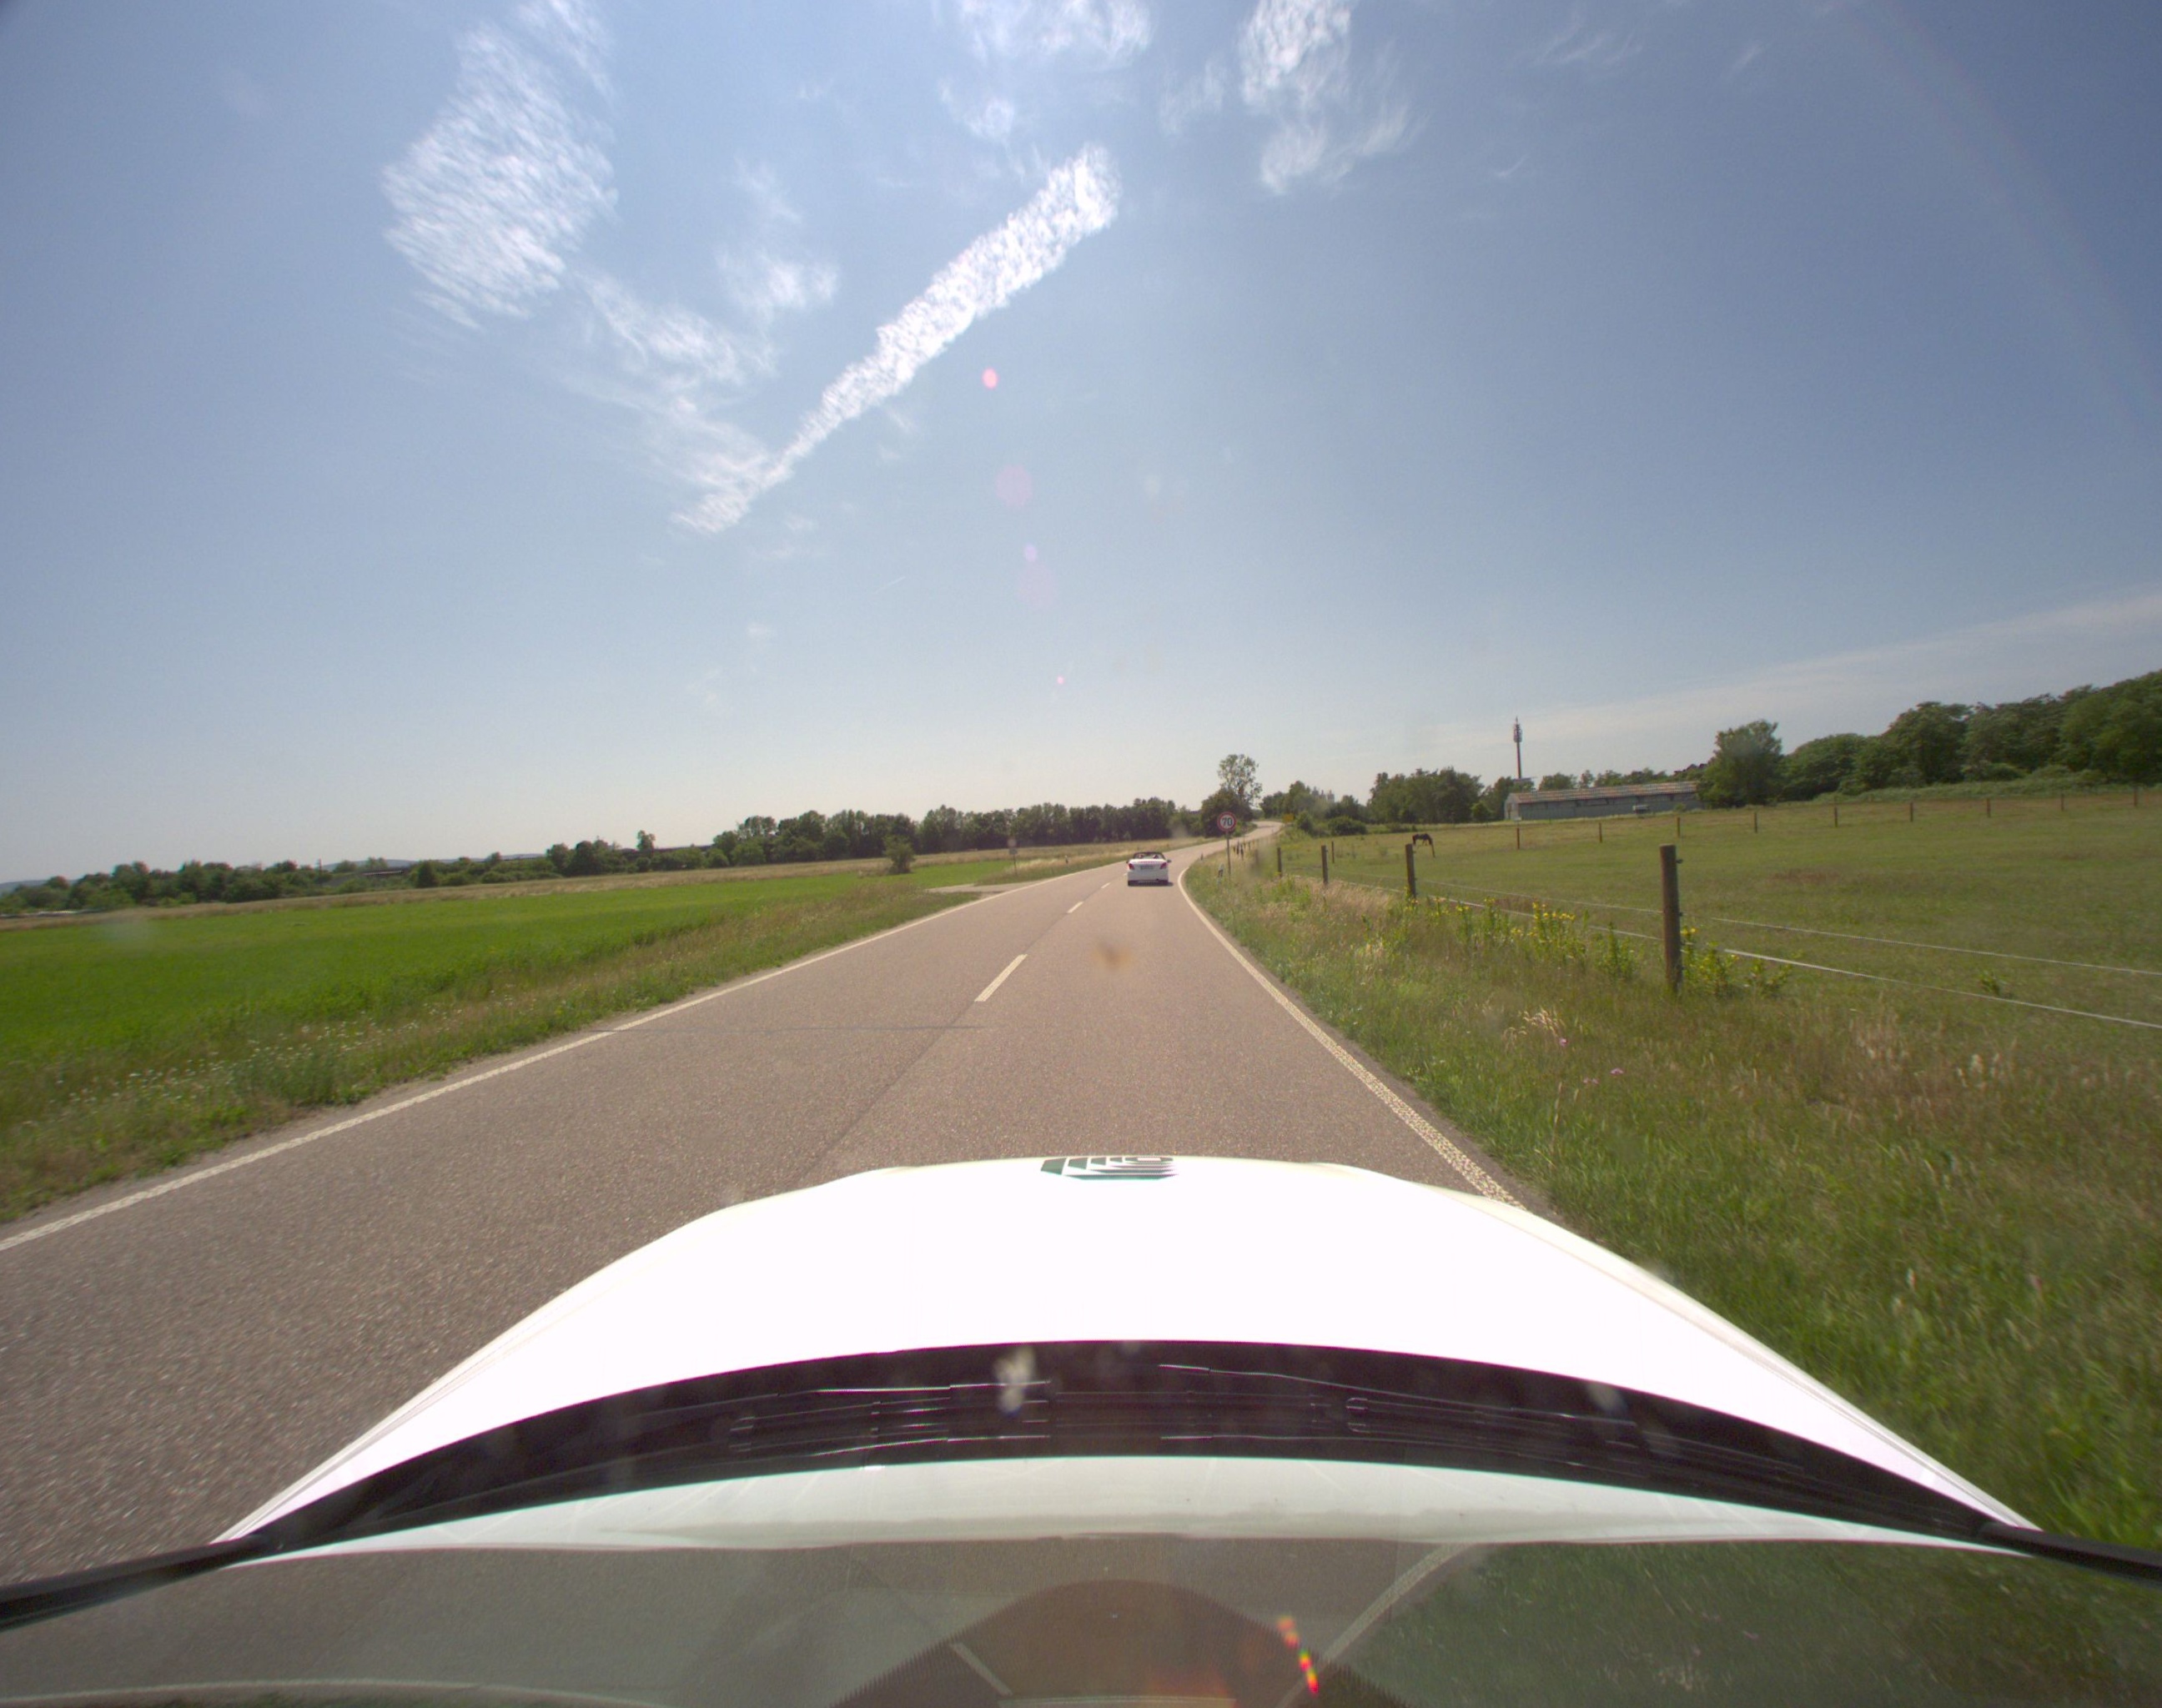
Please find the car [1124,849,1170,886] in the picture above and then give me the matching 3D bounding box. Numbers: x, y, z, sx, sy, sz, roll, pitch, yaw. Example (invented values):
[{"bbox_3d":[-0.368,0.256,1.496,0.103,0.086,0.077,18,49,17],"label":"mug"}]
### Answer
[{"bbox_3d":[2.867,0.537,35.018,1.841,1.379,4.007,-1,1,6],"label":"car"}]
